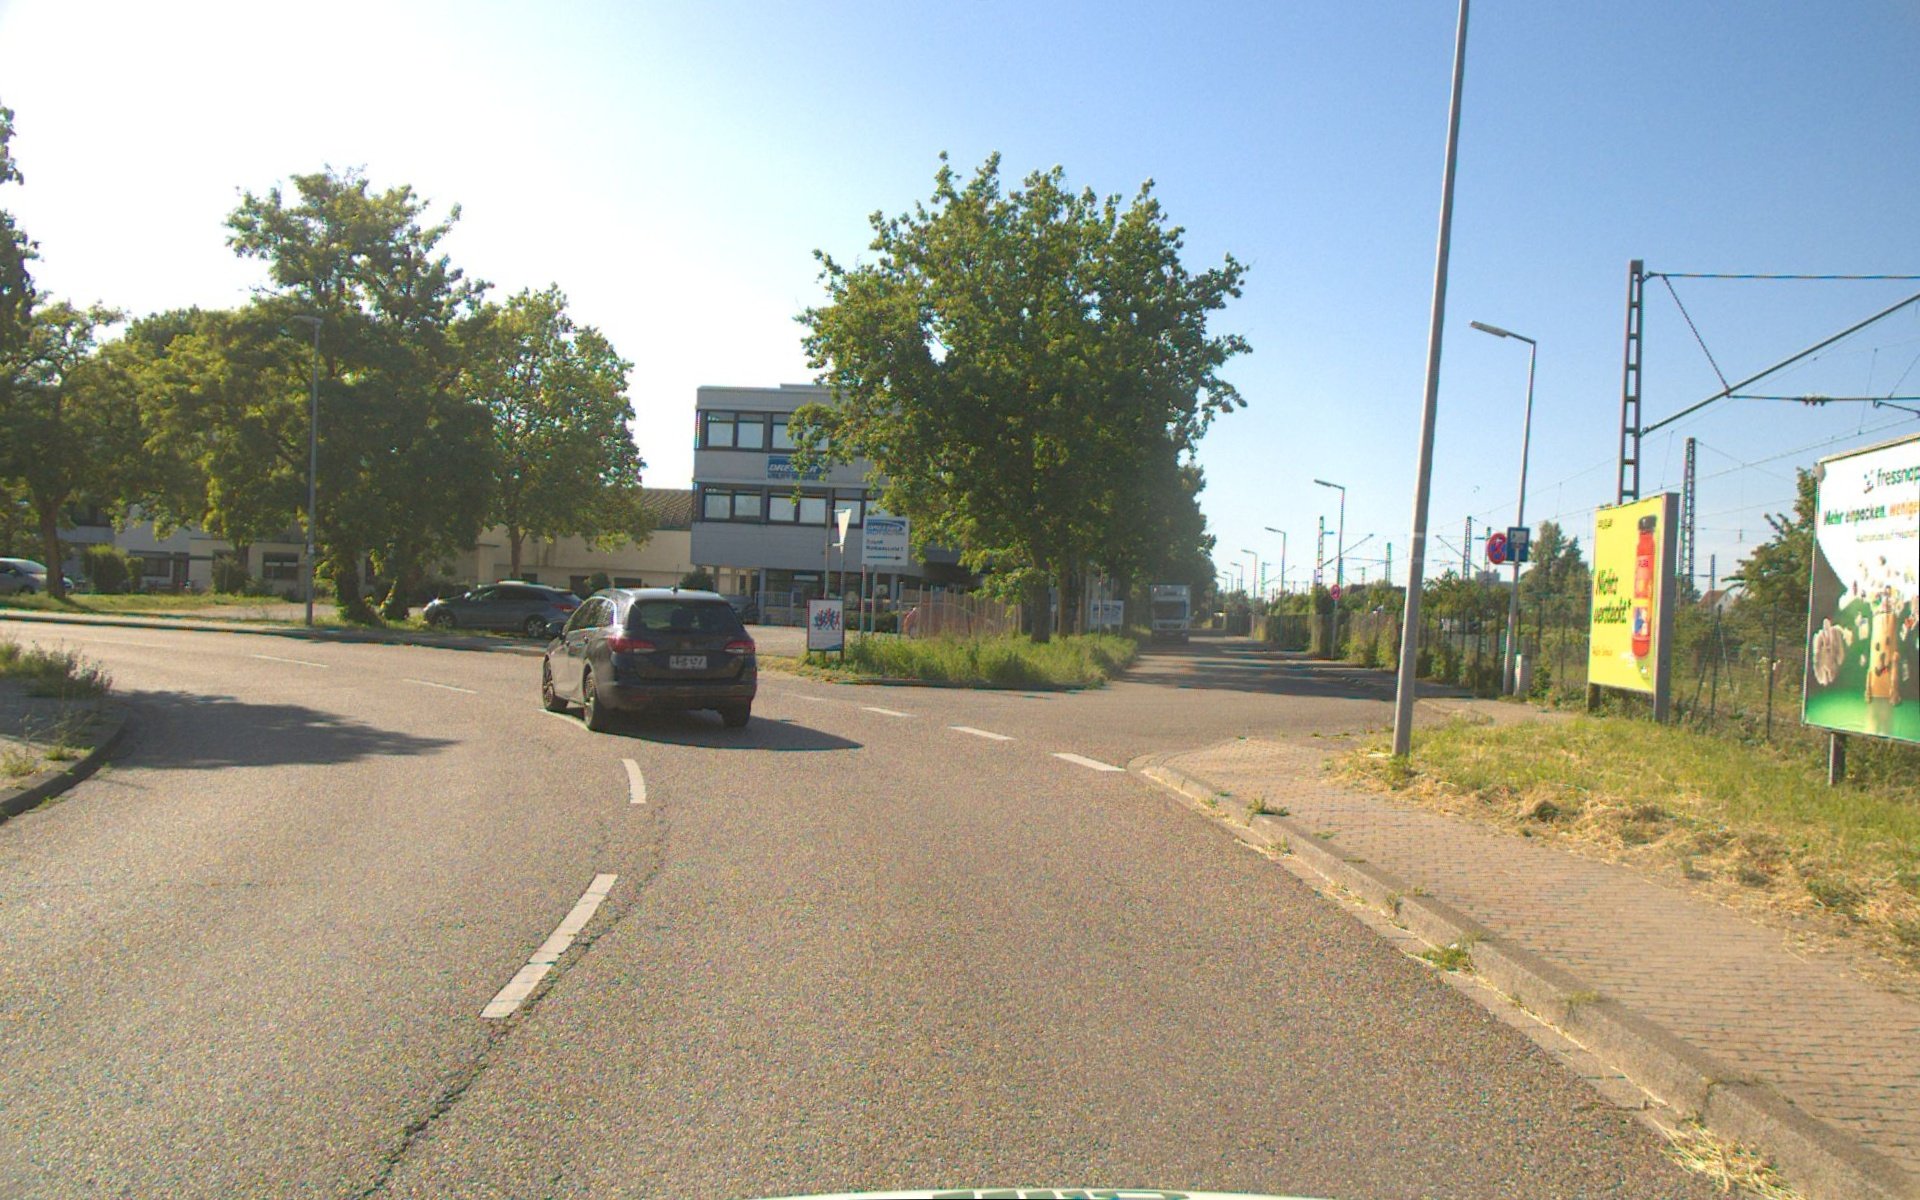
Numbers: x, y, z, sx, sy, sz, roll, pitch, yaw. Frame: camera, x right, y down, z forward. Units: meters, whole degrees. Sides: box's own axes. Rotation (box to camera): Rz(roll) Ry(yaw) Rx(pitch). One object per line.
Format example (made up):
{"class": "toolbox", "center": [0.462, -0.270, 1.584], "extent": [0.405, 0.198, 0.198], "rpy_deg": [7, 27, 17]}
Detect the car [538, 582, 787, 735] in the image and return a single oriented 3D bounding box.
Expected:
{"class": "car", "center": [-3.539, 0.574, 18.954], "extent": [1.915, 1.515, 4.535], "rpy_deg": [1, 0, -22]}

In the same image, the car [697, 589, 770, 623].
{"class": "car", "center": [-10.752, 0.251, 78.999], "extent": [1.951, 1.510, 4.931], "rpy_deg": [2, 1, 10]}

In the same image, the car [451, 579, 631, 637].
{"class": "car", "center": [-12.648, 0.248, 50.066], "extent": [4.806, 1.510, 2.001], "rpy_deg": [2, 0, 7]}

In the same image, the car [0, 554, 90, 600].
{"class": "car", "center": [-33.902, -0.873, 59.265], "extent": [4.808, 1.510, 2.001], "rpy_deg": [2, 0, 18]}

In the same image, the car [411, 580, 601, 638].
{"class": "car", "center": [-12.993, 0.253, 47.484], "extent": [4.806, 1.451, 2.001], "rpy_deg": [2, 0, 7]}

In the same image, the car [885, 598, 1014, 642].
{"class": "car", "center": [-0.406, 0.783, 65.998], "extent": [4.806, 1.510, 2.002], "rpy_deg": [2, 1, 12]}

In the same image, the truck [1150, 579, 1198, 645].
{"class": "truck", "center": [13.999, 0.785, 108.981], "extent": [2.558, 3.953, 13.540], "rpy_deg": [3, 0, 6]}
